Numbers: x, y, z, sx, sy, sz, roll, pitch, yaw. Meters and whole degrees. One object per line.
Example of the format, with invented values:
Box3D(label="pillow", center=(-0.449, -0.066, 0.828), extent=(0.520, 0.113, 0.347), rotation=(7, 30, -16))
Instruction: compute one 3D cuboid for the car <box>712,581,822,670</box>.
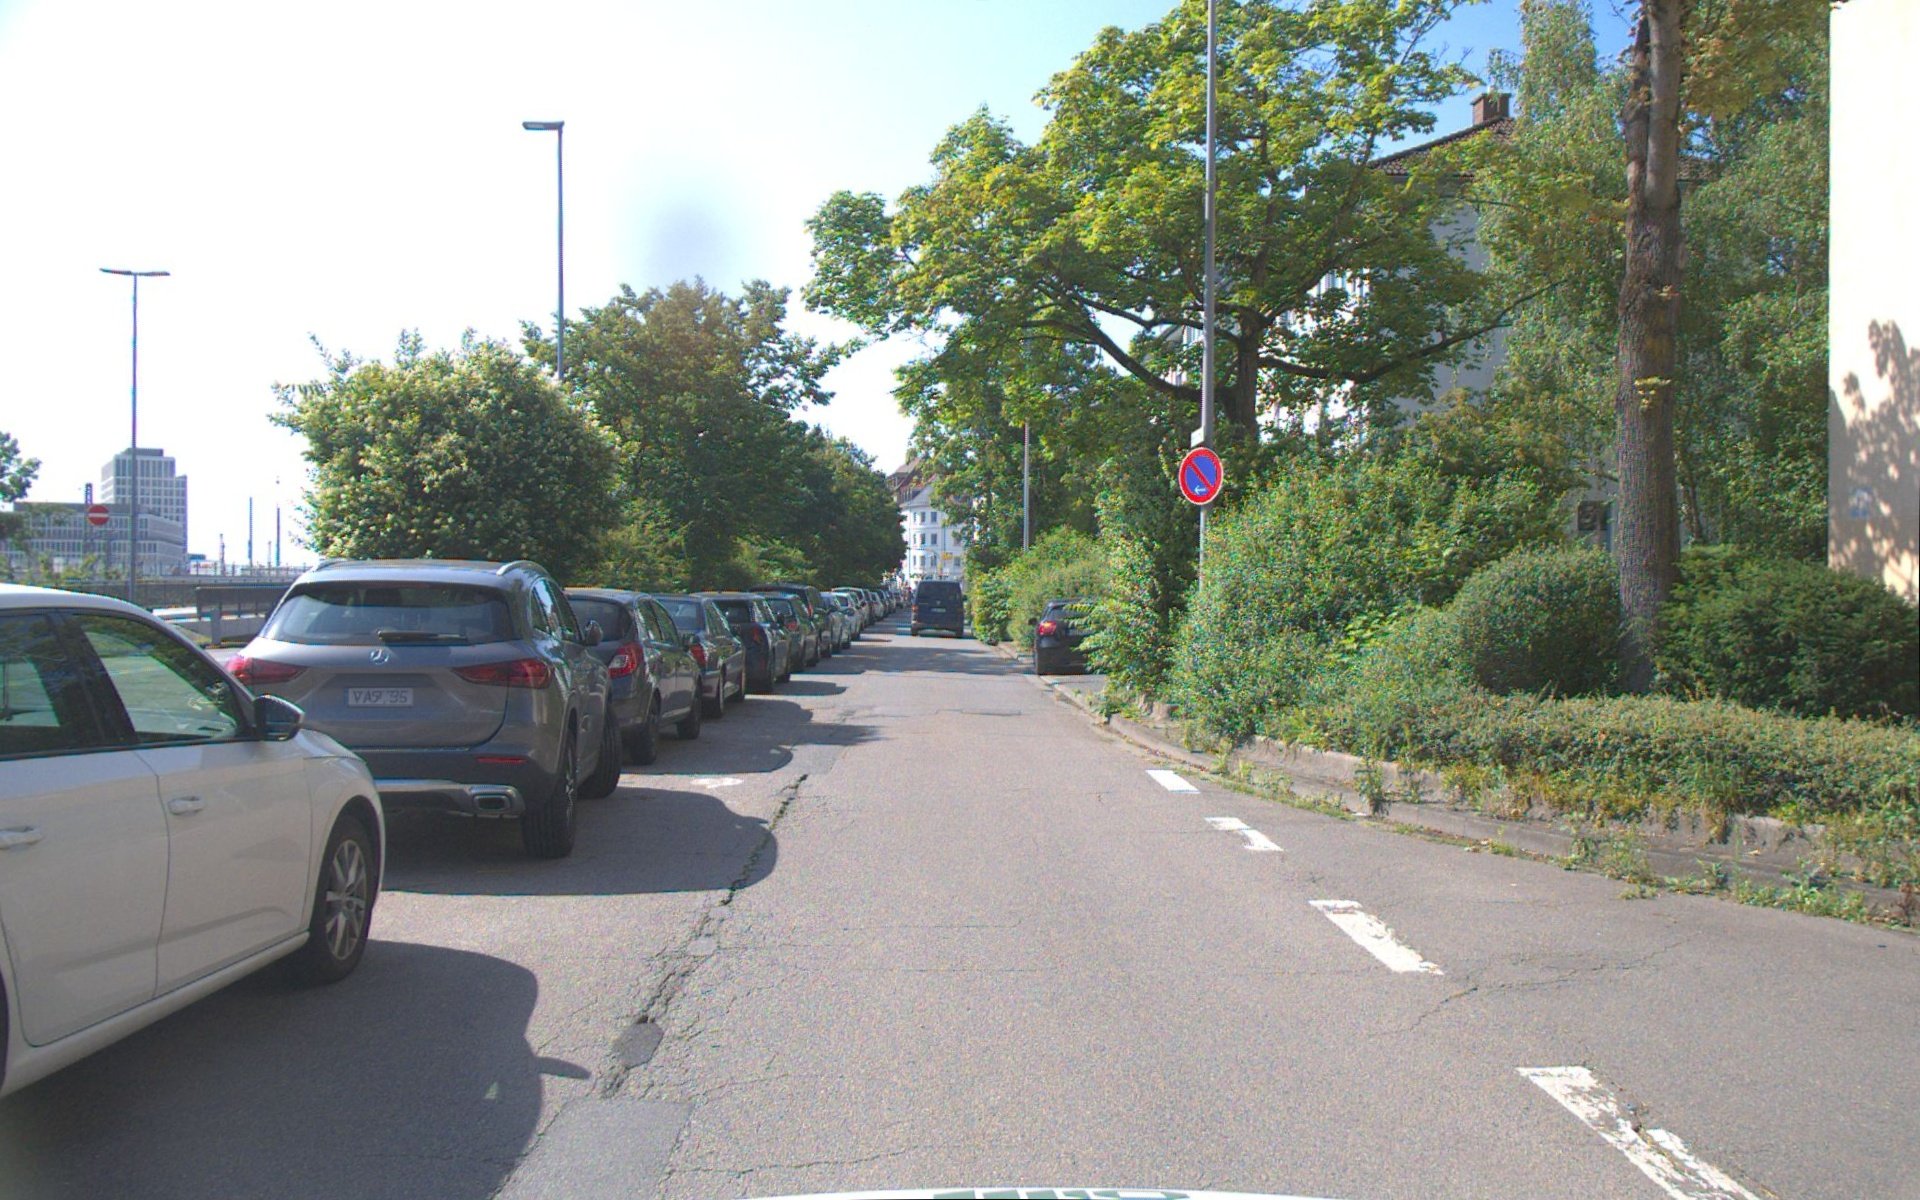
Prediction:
Box3D(label="car", center=(-3.637, 0.435, 31.718), extent=(1.630, 1.538, 3.789), rotation=(3, 1, -1))

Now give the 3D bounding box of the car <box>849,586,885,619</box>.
Box3D(label="car", center=(-4.756, 0.114, 84.965), extent=(1.630, 1.536, 4.008), rotation=(3, 1, -1))

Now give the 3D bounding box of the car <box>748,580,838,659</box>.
Box3D(label="car", center=(-3.617, 0.387, 36.377), extent=(1.630, 1.611, 3.931), rotation=(0, 1, -1))

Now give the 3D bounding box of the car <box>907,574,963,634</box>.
Box3D(label="car", center=(-0.870, 0.103, 58.444), extent=(1.844, 1.955, 4.008), rotation=(2, 1, -1))

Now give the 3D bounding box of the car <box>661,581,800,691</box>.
Box3D(label="car", center=(-3.498, 0.500, 25.782), extent=(1.630, 1.499, 3.789), rotation=(3, 1, -1))

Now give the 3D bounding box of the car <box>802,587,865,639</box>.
Box3D(label="car", center=(-3.921, 0.371, 51.830), extent=(1.630, 1.494, 4.200), rotation=(3, 1, -1))

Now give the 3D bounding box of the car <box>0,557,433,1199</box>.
Box3D(label="car", center=(-2.994, 0.653, 4.653), extent=(1.686, 1.531, 4.131), rotation=(2, 1, -1))

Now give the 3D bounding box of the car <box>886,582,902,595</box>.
Box3D(label="car", center=(-8.435, -1.494, 211.021), extent=(1.953, 1.686, 3.739), rotation=(0, 0, -2))

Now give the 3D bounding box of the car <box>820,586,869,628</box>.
Box3D(label="car", center=(-4.344, 0.242, 62.701), extent=(1.630, 1.536, 4.200), rotation=(0, 1, -1))

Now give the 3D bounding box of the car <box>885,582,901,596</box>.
Box3D(label="car", center=(-8.187, -1.327, 202.563), extent=(1.953, 1.686, 3.999), rotation=(0, 0, -2))

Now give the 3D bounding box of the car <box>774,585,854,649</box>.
Box3D(label="car", center=(-3.622, 0.384, 41.737), extent=(1.630, 1.431, 4.319), rotation=(3, 1, -1))

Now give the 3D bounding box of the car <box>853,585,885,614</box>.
Box3D(label="car", center=(-5.240, -0.039, 95.469), extent=(1.630, 1.536, 4.008), rotation=(3, 1, -1))

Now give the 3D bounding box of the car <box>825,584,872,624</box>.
Box3D(label="car", center=(-4.555, 0.138, 68.135), extent=(1.630, 1.536, 4.008), rotation=(3, 1, -1))

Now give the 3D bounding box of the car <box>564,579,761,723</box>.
Box3D(label="car", center=(-3.583, 0.539, 20.717), extent=(1.630, 1.538, 4.593), rotation=(3, 1, -1))

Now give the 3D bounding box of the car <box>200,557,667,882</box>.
Box3D(label="car", center=(-2.980, 0.557, 10.309), extent=(1.736, 1.607, 4.184), rotation=(0, 1, -3))

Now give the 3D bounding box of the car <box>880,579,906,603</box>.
Box3D(label="car", center=(-4.527, -0.600, 112.420), extent=(1.630, 1.536, 4.008), rotation=(1, 0, -1))

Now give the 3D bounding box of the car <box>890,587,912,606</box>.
Box3D(label="car", center=(-5.235, -0.338, 147.757), extent=(1.953, 1.686, 3.999), rotation=(0, 0, -2))

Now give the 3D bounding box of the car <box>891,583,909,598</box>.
Box3D(label="car", center=(-6.903, -1.131, 190.573), extent=(1.953, 1.686, 3.999), rotation=(0, 0, -2))

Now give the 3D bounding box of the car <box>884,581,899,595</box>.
Box3D(label="car", center=(-8.902, -1.564, 215.605), extent=(1.953, 1.686, 3.739), rotation=(0, 0, -2))

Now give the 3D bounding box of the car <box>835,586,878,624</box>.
Box3D(label="car", center=(-4.579, 0.212, 73.636), extent=(1.630, 1.536, 4.008), rotation=(3, 1, -1))

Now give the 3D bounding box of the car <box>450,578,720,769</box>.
Box3D(label="car", center=(-3.339, 0.577, 15.410), extent=(1.630, 1.500, 3.876), rotation=(2, 1, -1))

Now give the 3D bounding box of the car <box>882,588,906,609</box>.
Box3D(label="car", center=(-5.501, -0.136, 137.948), extent=(1.953, 1.686, 3.999), rotation=(0, 0, -2))

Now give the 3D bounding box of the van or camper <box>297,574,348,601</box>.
Box3D(label="van or camper", center=(-33.656, -0.649, 87.422), extent=(1.439, 1.373, 4.623), rotation=(0, 1, -7))

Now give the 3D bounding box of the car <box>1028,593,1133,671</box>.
Box3D(label="car", center=(2.343, 0.589, 32.961), extent=(1.691, 1.445, 3.999), rotation=(-1, 0, -1))
